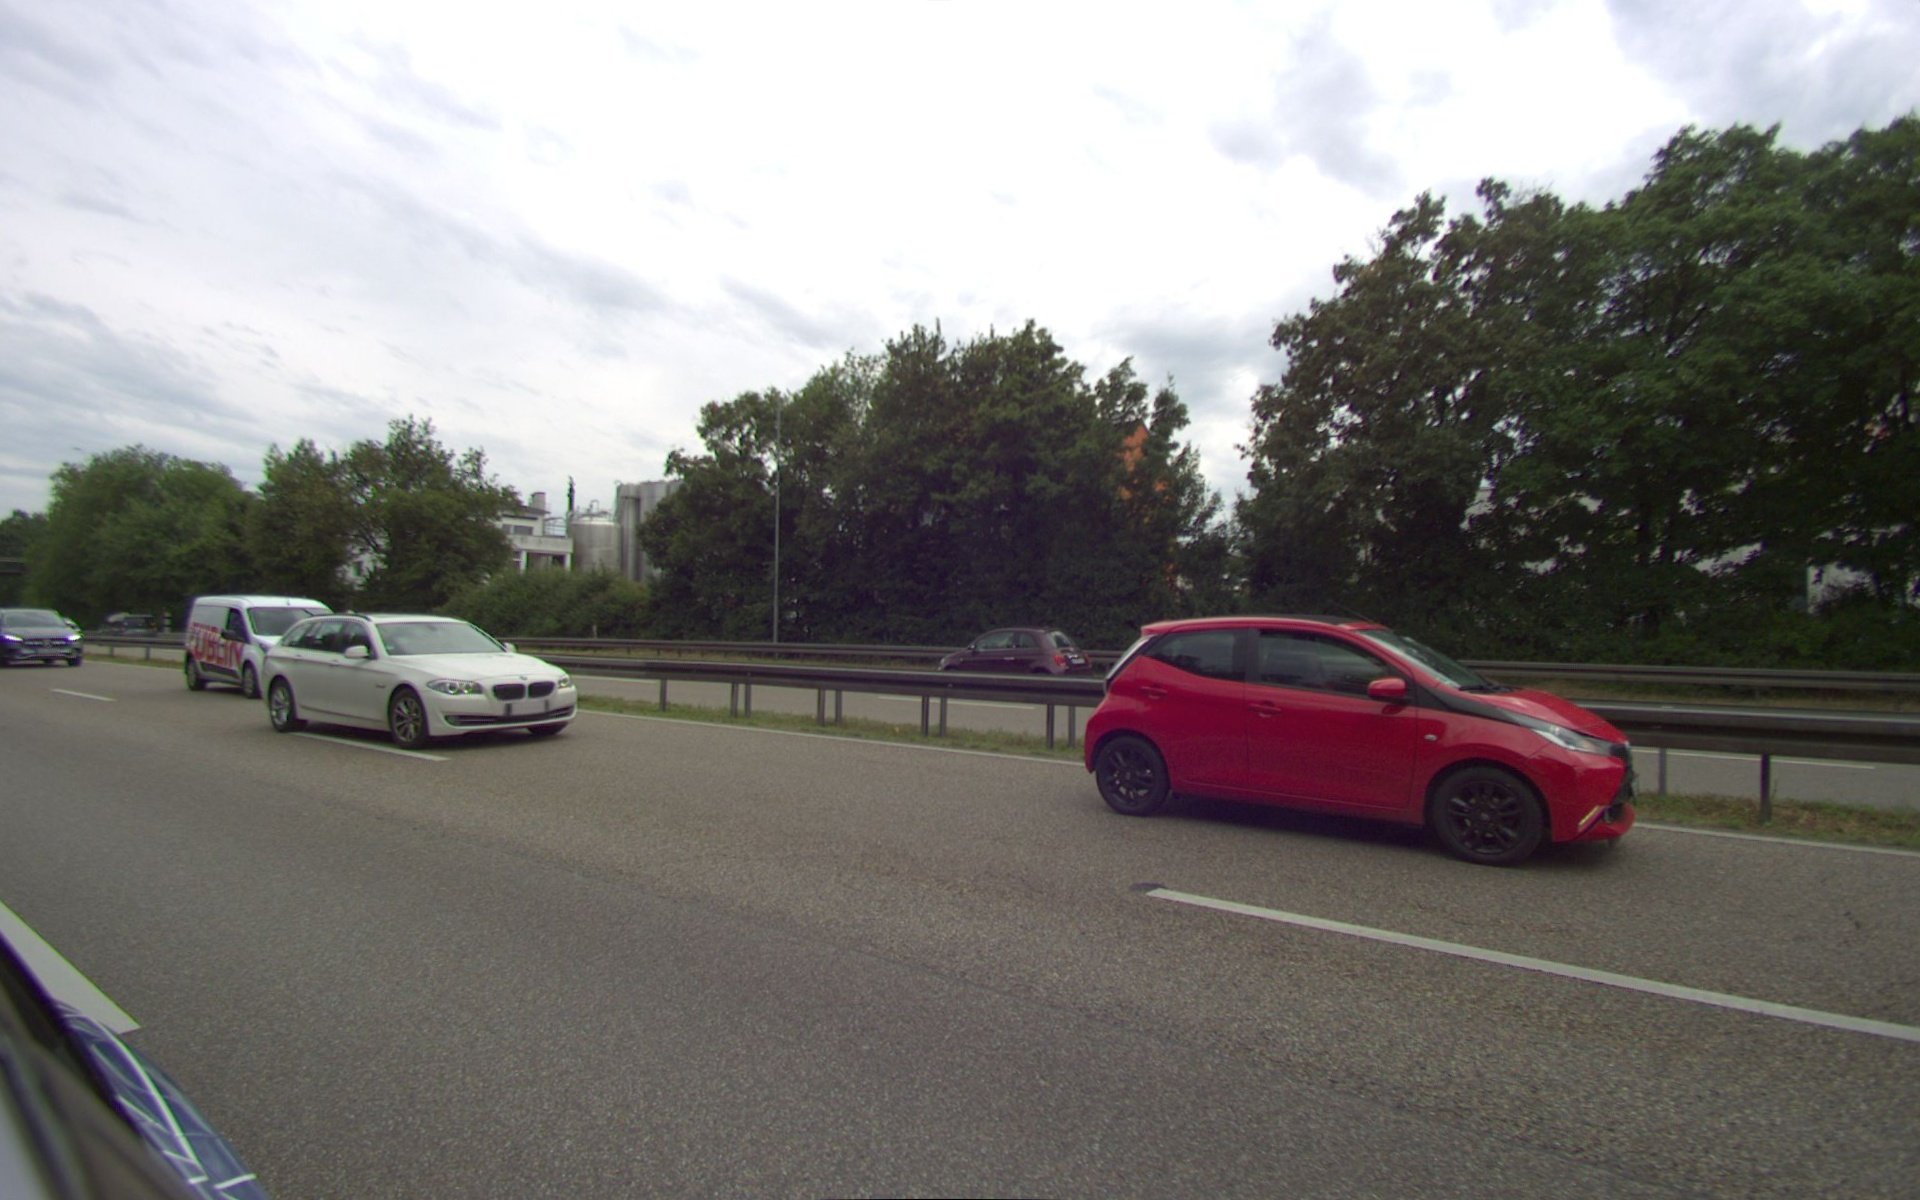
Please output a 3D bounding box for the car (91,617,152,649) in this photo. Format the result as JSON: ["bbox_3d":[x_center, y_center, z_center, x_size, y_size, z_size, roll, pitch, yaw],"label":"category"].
[{"bbox_3d":[-47.624,1.856,57.442,4.268,1.780,1.561,-1,-2,35],"label":"car"}]

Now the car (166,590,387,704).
[{"bbox_3d":[-12.811,0.822,18.840,4.998,1.864,1.830,-1,-2,37],"label":"car"}]

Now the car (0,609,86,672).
[{"bbox_3d":[-26.458,1.120,28.694,3.995,1.664,1.826,-1,-2,39],"label":"car"}]

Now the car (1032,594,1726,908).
[{"bbox_3d":[2.630,0.772,6.889,4.085,1.535,1.611,0,-2,39],"label":"car"}]

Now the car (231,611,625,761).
[{"bbox_3d":[-6.612,0.904,12.342,5.245,1.475,2.041,-1,-2,35],"label":"car"}]

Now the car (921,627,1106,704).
[{"bbox_3d":[1.122,1.360,22.039,3.826,1.507,1.559,-1,-2,36],"label":"car"}]

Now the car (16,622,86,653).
[{"bbox_3d":[-47.746,1.929,53.134,4.391,1.539,1.843,-1,-2,36],"label":"car"}]
